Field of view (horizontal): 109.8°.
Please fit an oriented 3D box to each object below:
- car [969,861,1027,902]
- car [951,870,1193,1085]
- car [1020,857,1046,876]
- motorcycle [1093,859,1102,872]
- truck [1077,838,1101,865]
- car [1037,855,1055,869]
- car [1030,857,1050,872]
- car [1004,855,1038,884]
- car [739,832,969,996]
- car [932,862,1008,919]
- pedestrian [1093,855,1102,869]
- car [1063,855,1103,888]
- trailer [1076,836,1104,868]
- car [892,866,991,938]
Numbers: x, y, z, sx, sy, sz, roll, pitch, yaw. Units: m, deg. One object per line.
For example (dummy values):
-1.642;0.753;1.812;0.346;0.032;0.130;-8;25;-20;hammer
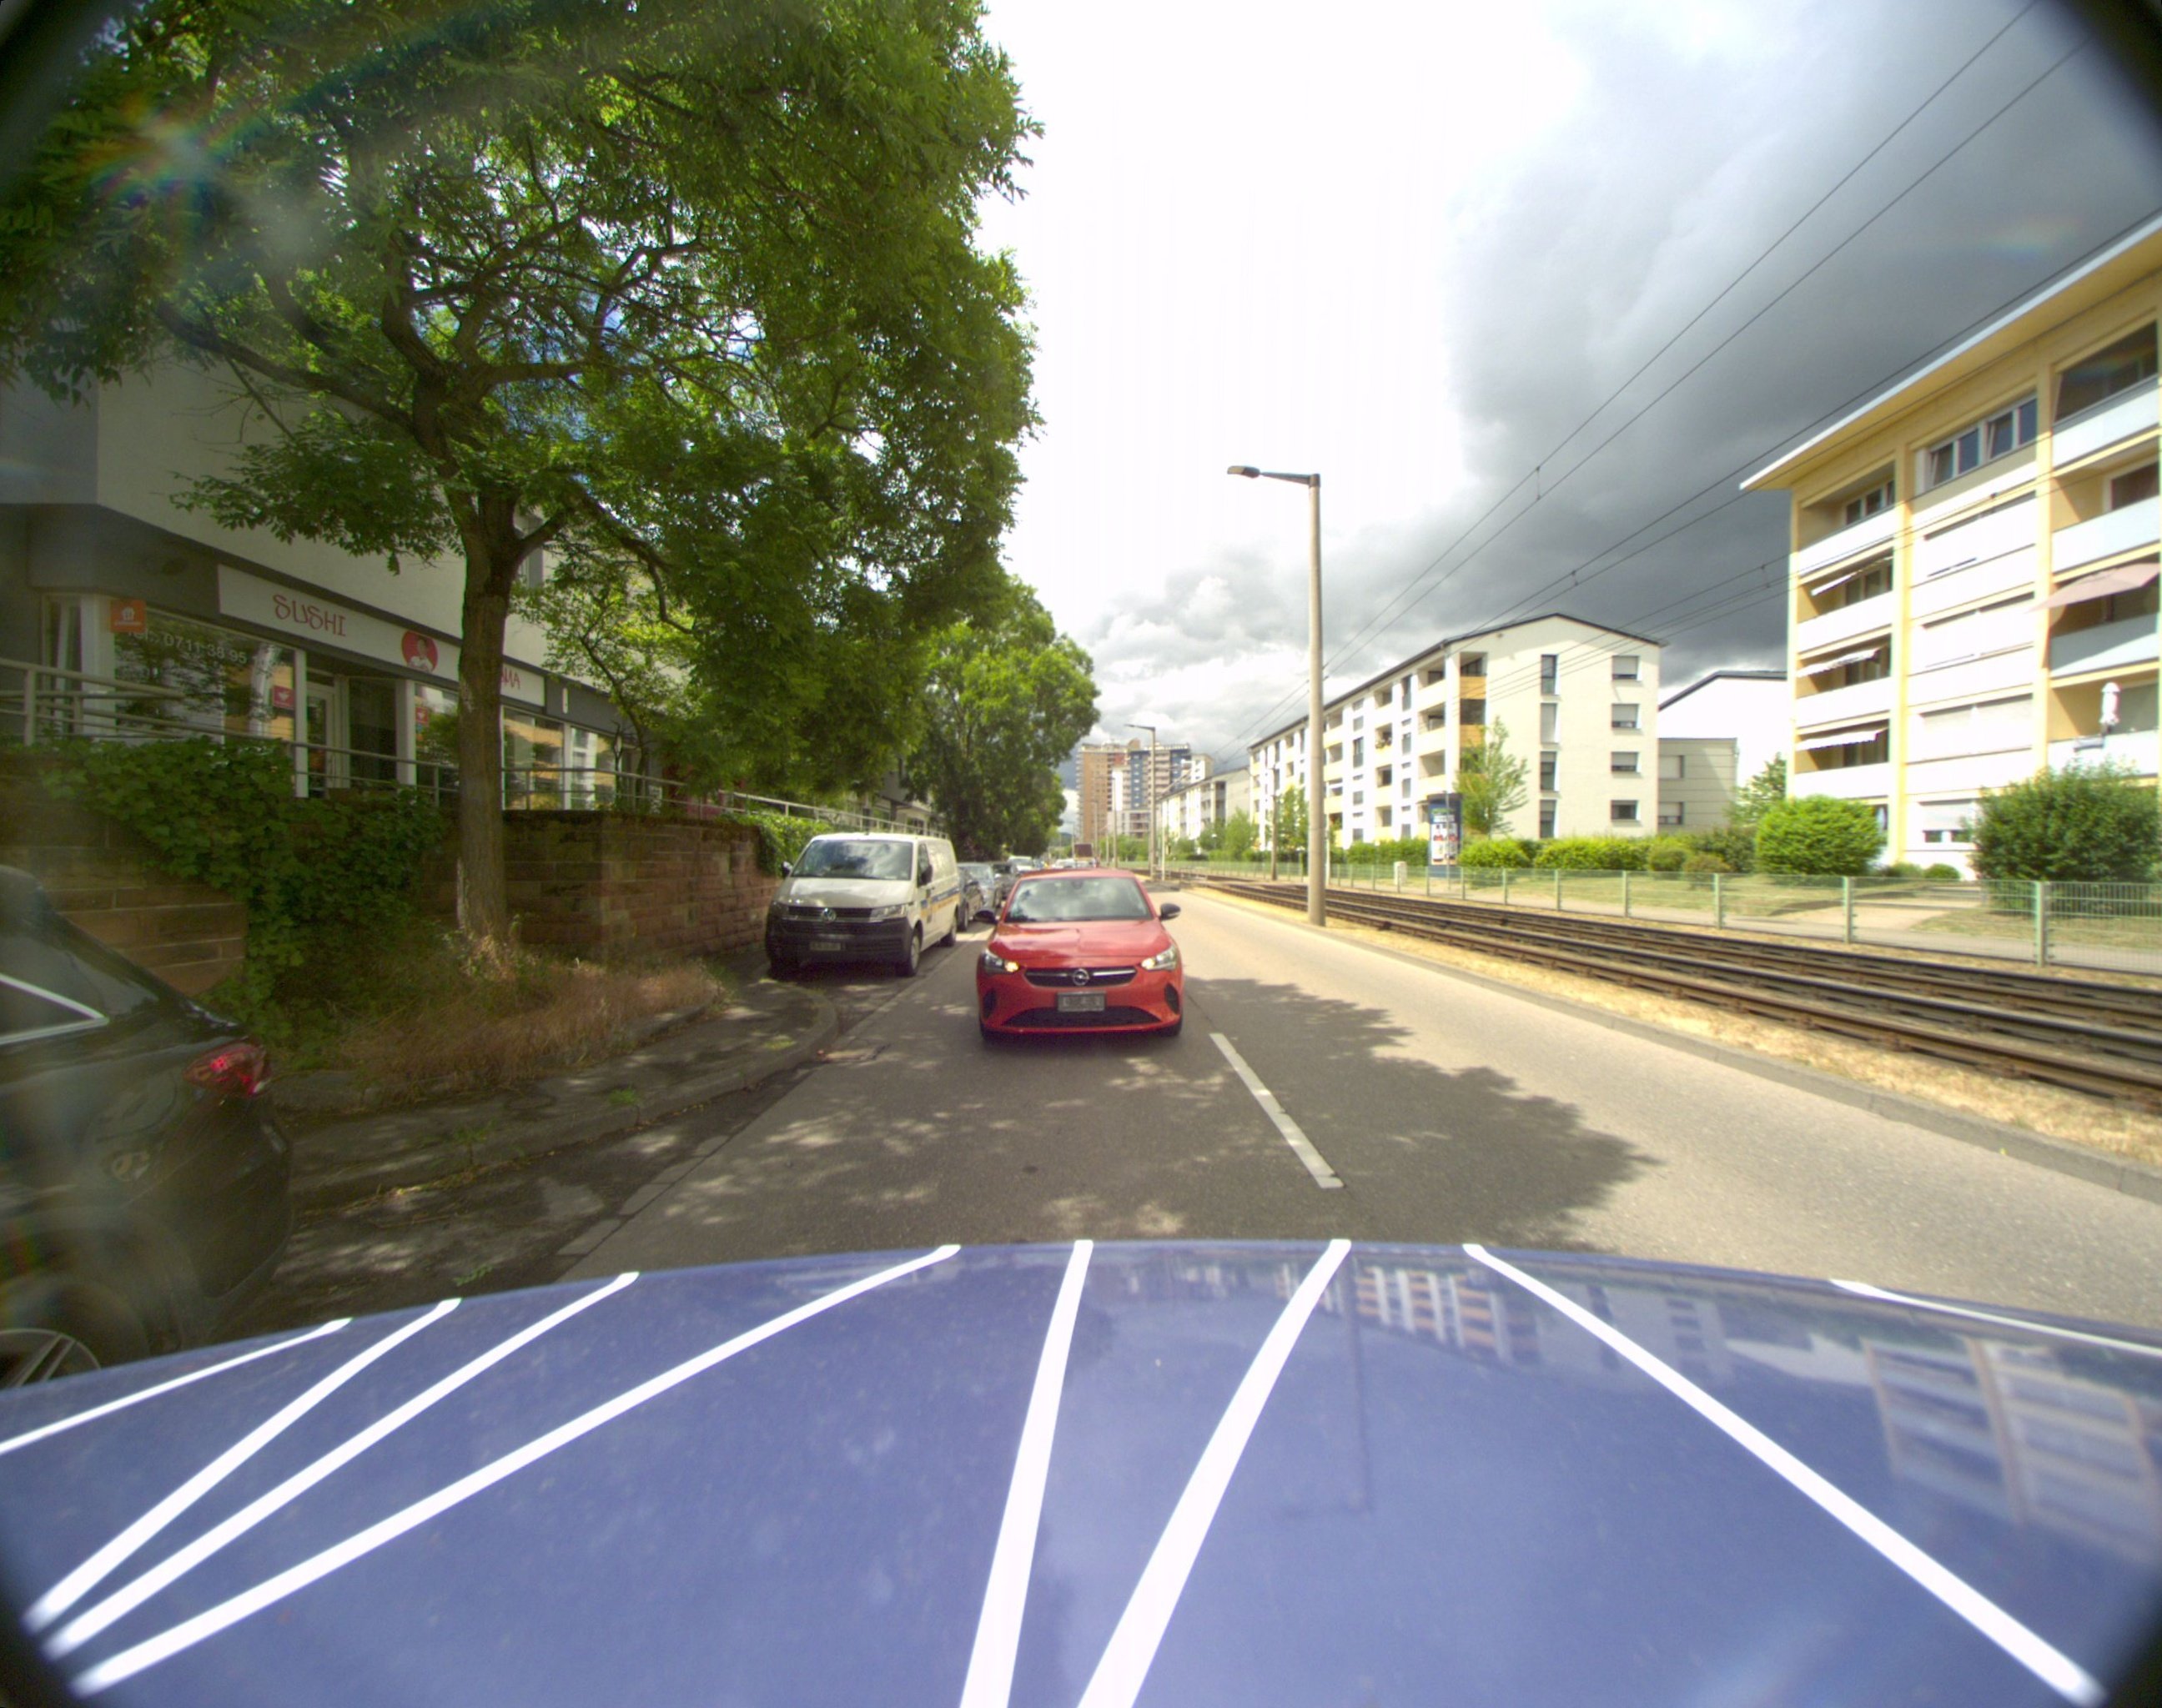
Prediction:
-3.164;1.012;29.667;1.784;1.420;4.147;0;0;0;car
-0.029;0.953;7.611;1.723;1.434;4.000;-3;0;1;car
-3.895;0.982;61.815;1.784;1.420;4.147;-1;0;0;car
1.614;1.127;75.165;0.783;1.181;1.869;-1;0;-1;motorcycle
1.025;-0.308;99.506;2.852;3.428;4.415;-2;0;0;truck
-3.988;0.885;86.277;1.784;1.420;4.147;-1;0;0;car
-4.234;1.065;79.016;1.784;1.420;4.147;-1;0;0;car
-3.515;0.863;44.940;1.819;1.643;4.146;0;0;-2;car
-3.108;0.719;11.680;1.978;1.958;5.013;-1;0;0;car
-3.202;1.012;22.678;1.785;1.420;4.144;2;0;-2;car
1.609;0.779;75.186;0.737;1.408;0.927;-2;1;-1;pedestrian
0.045;0.866;39.431;1.927;1.543;3.999;-2;0;-1;car
1.000;-0.287;91.280;2.875;3.428;14.614;-2;0;0;trailer
-3.119;1.020;17.668;1.578;1.420;3.734;-1;0;0;car
